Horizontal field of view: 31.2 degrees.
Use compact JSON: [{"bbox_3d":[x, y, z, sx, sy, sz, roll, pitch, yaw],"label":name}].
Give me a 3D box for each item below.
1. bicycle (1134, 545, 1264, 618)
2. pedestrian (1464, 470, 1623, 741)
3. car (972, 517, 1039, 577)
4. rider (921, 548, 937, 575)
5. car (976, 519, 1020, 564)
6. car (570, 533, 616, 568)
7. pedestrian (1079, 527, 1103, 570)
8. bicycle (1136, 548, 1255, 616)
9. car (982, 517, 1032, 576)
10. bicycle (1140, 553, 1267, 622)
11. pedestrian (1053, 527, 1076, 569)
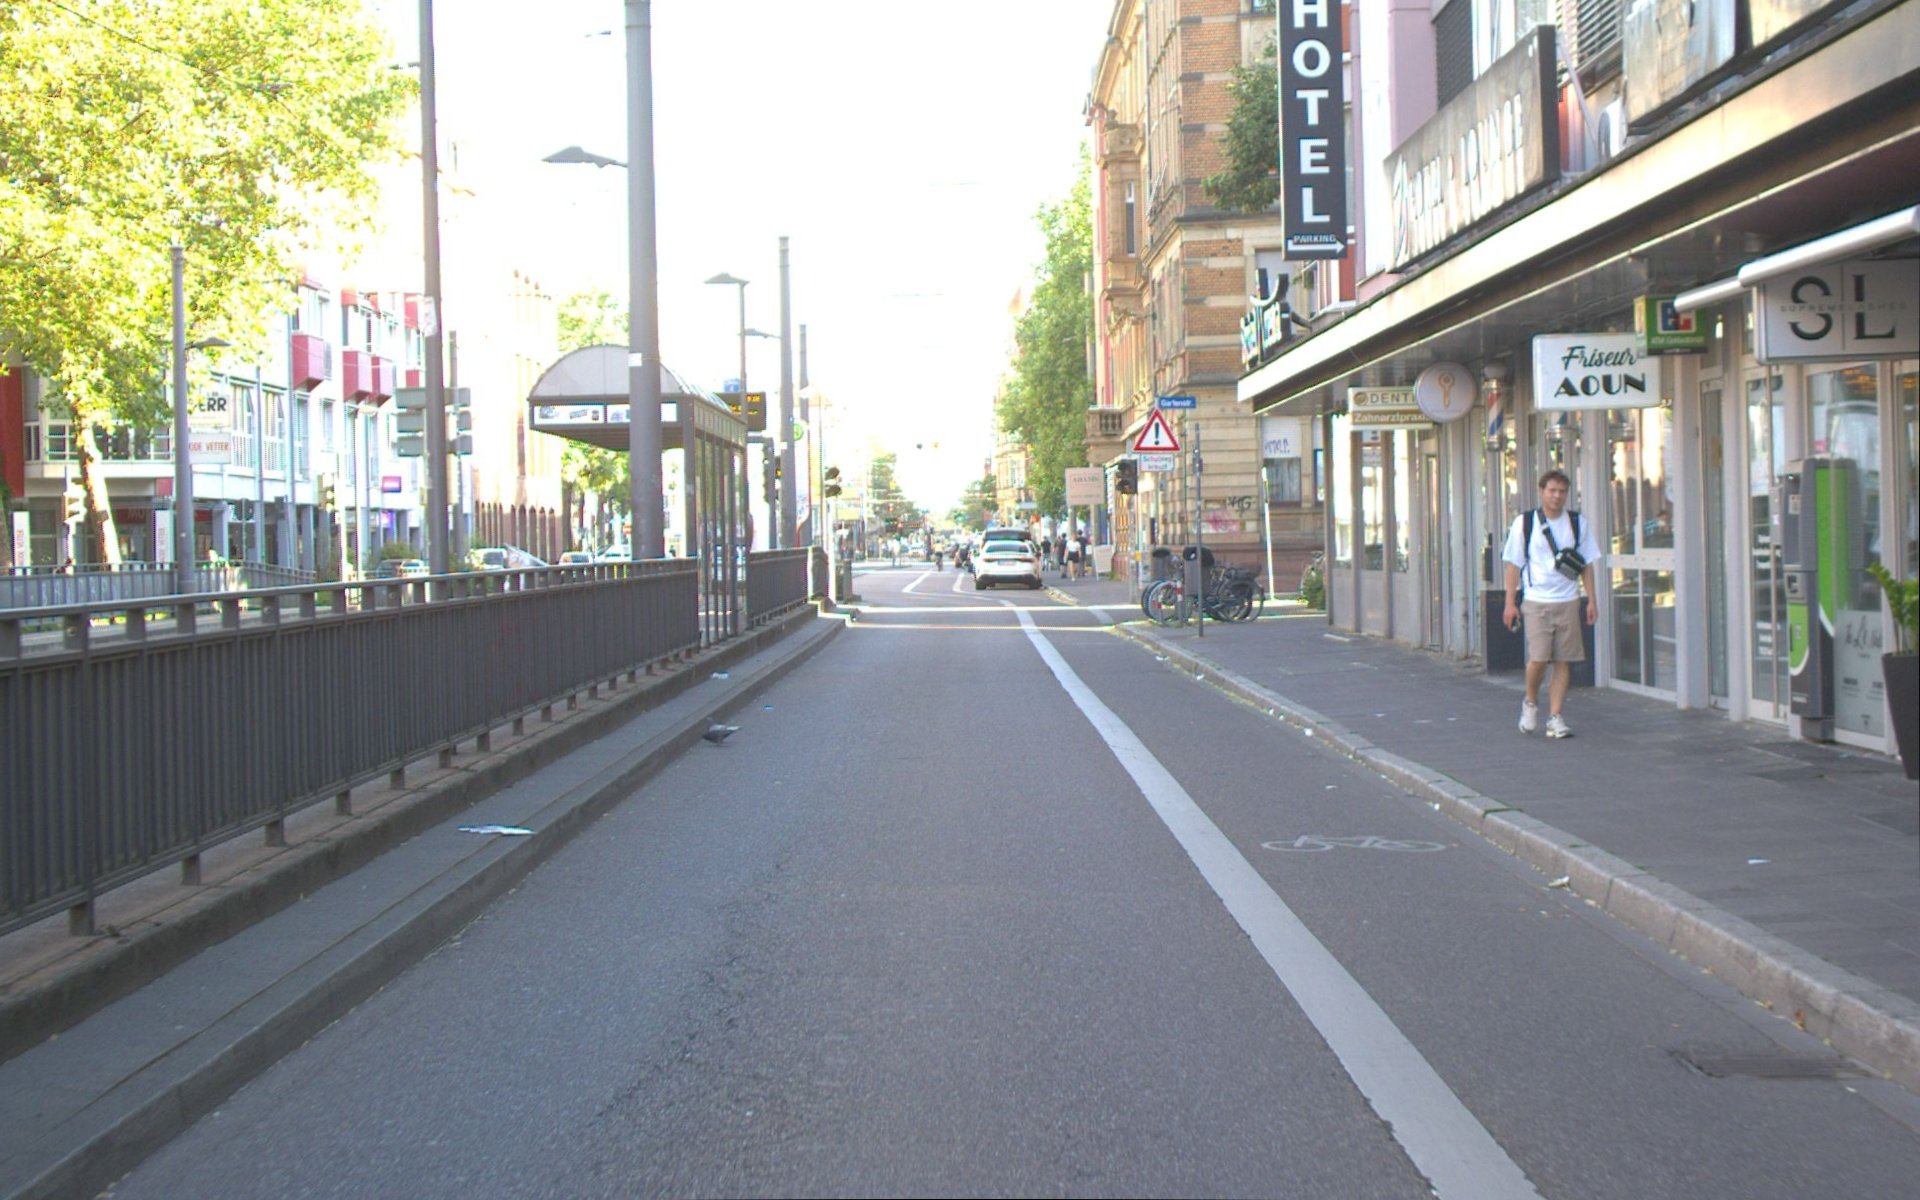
[{"bbox_3d":[3.784,-0.303,54.423,1.970,1.101,0.614,-1,1,-3],"label":"bicycle"},{"bbox_3d":[3.888,0.032,22.990,0.798,1.716,1.061,-4,0,1],"label":"pedestrian"},{"bbox_3d":[1.388,-1.601,104.122,1.966,1.765,4.875,0,1,1],"label":"car"},{"bbox_3d":[-1.745,-2.159,193.323,0.883,1.476,0.713,1,1,1],"label":"rider"},{"bbox_3d":[1.801,-2.771,162.007,1.971,2.007,4.558,-2,1,1],"label":"car"},{"bbox_3d":[-17.306,-2.347,162.266,1.869,1.594,4.255,0,1,-3],"label":"car"},{"bbox_3d":[4.972,-1.958,130.729,0.776,1.561,0.914,-4,1,1],"label":"pedestrian"},{"bbox_3d":[3.774,-0.294,55.153,1.833,1.050,0.718,-1,1,-3],"label":"bicycle"},{"bbox_3d":[1.750,-1.958,126.980,1.705,2.112,3.706,0,0,3],"label":"car"},{"bbox_3d":[3.805,-0.203,53.768,1.913,1.044,0.681,-1,1,-3],"label":"bicycle"},{"bbox_3d":[3.966,-1.987,130.781,0.776,1.561,0.914,-4,1,1],"label":"pedestrian"}]
